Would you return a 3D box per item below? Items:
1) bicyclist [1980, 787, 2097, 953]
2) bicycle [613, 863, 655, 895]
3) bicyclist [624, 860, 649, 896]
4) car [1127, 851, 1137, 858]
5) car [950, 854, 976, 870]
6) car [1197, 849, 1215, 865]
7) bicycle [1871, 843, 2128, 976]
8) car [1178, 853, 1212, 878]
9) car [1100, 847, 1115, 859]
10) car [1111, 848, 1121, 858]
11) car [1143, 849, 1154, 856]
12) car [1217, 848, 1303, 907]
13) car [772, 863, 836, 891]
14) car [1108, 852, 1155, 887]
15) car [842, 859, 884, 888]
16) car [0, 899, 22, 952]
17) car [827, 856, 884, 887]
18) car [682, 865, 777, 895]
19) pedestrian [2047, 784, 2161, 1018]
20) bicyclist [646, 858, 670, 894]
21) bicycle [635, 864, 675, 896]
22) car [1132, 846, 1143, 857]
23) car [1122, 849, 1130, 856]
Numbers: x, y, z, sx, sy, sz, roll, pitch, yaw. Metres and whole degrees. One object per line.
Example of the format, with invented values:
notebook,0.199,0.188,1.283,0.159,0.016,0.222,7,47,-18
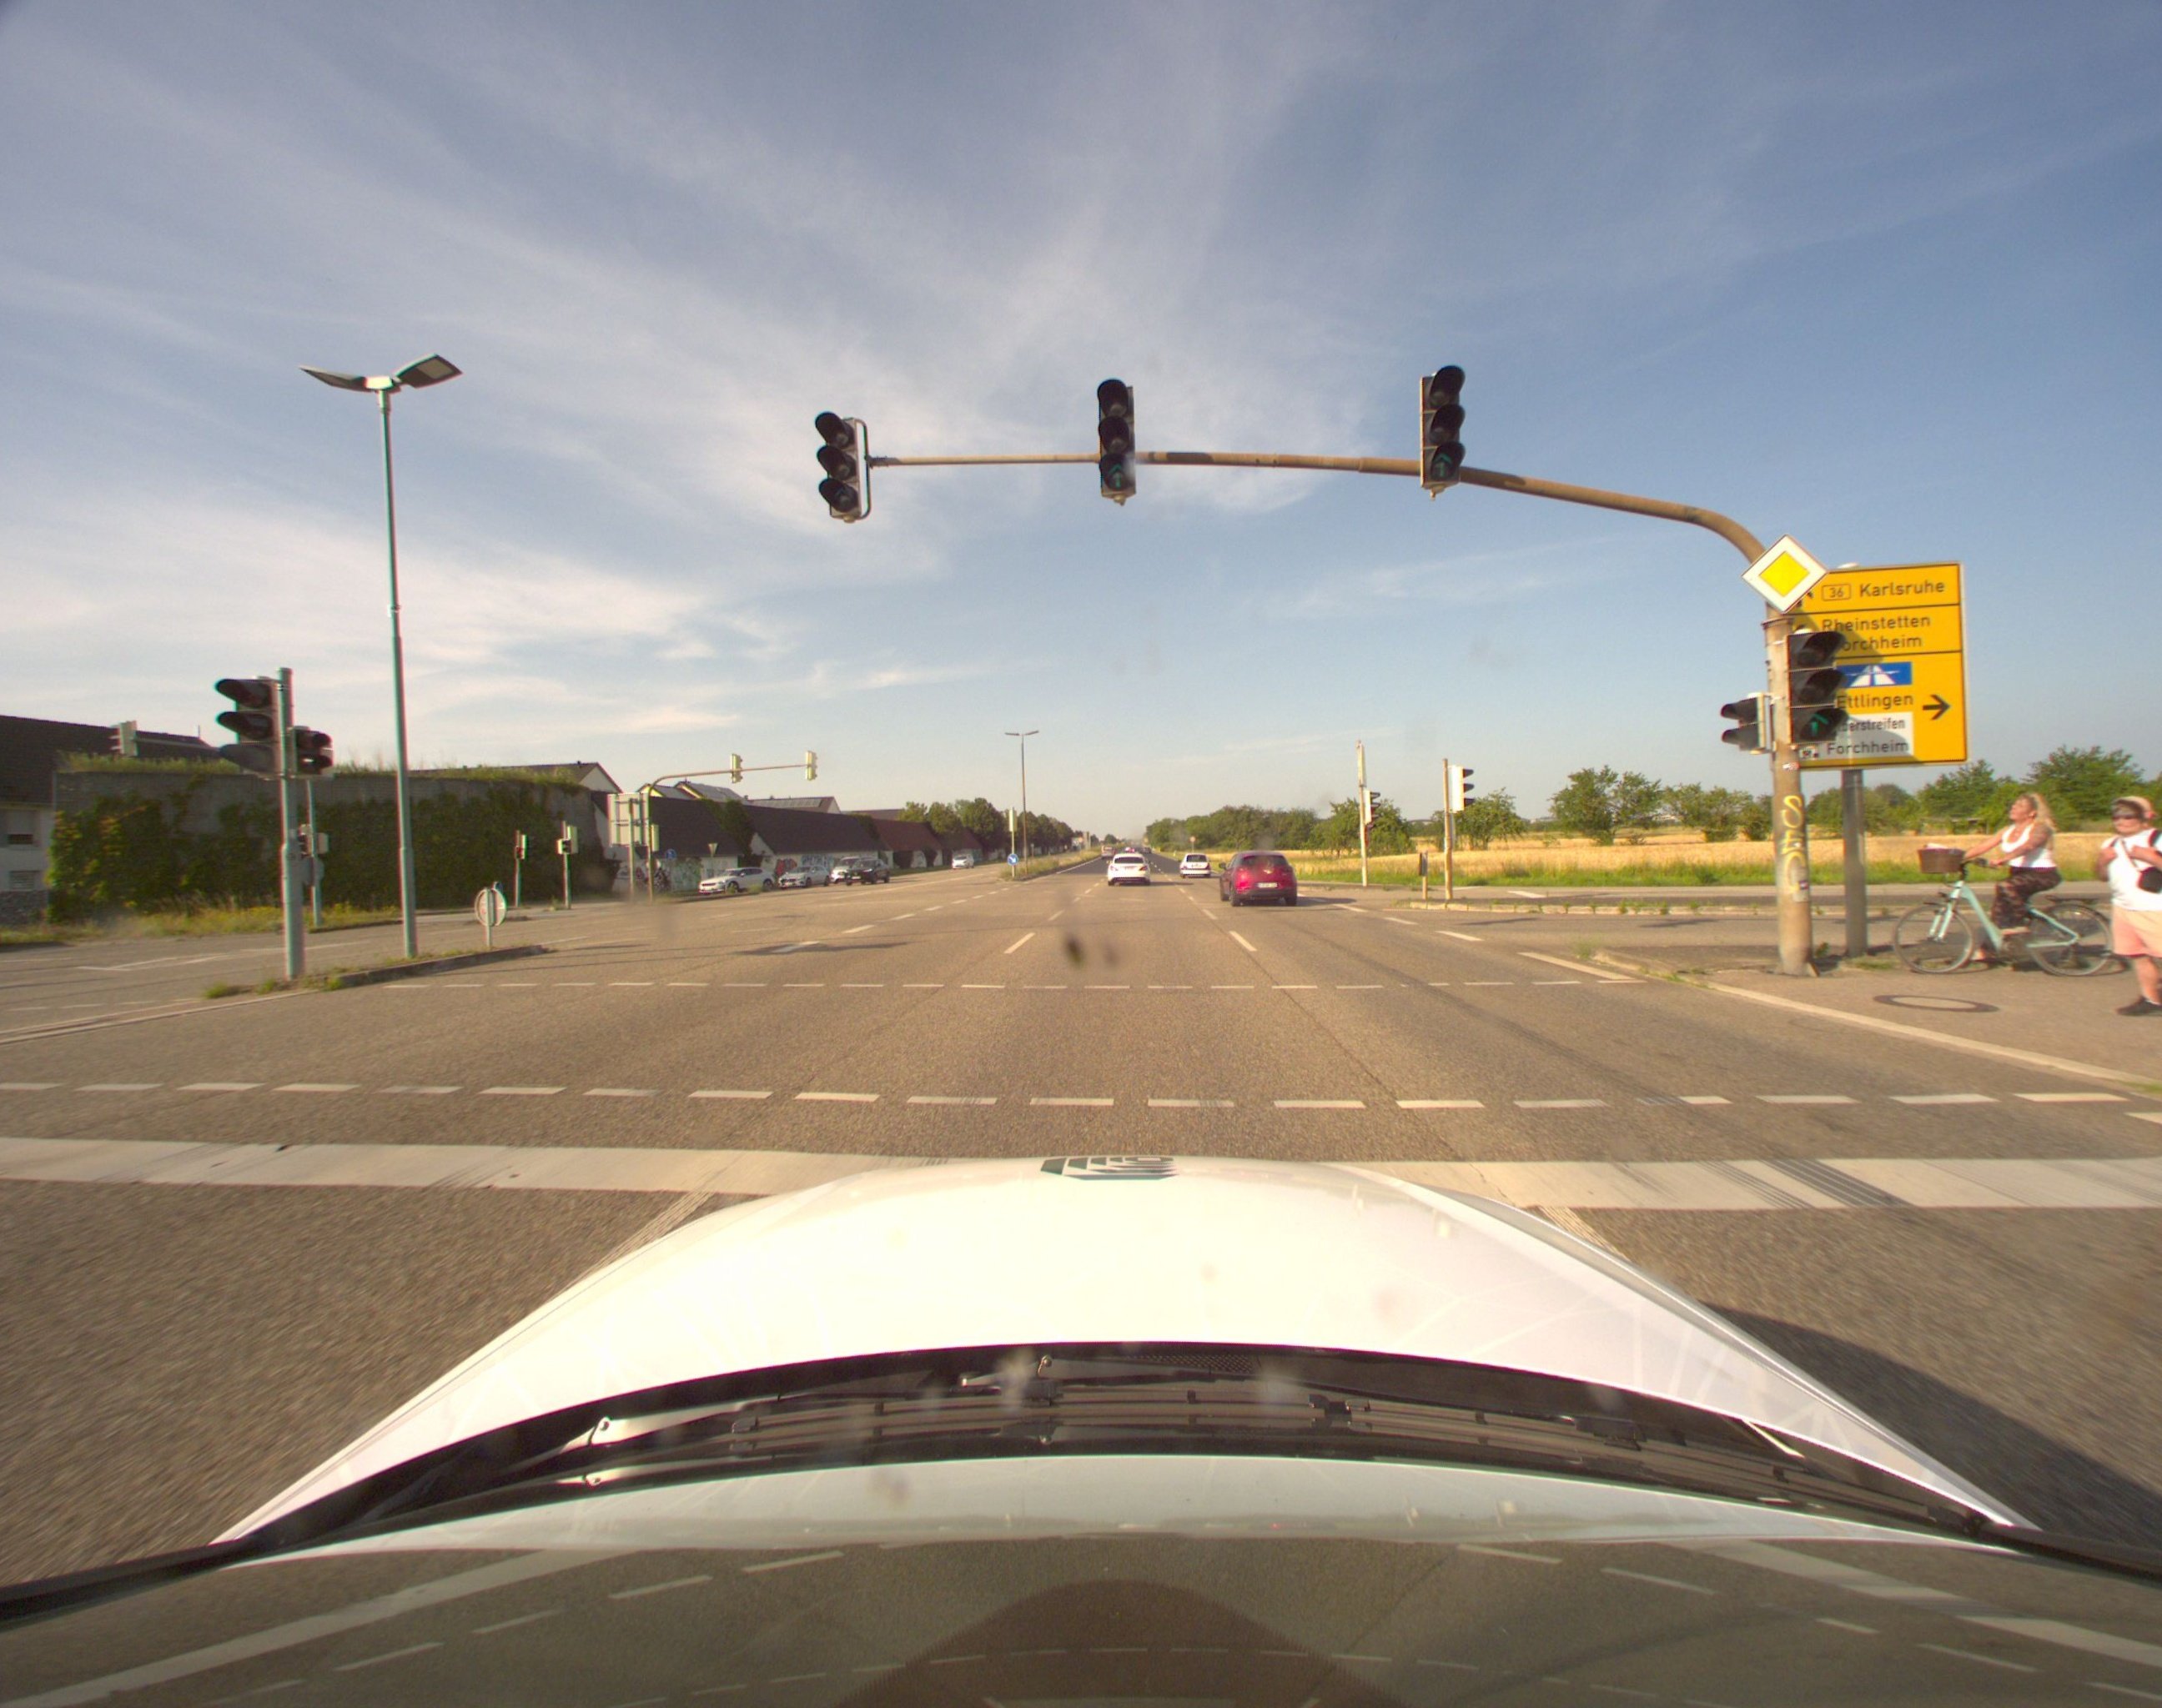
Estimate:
bicyclist,9.610,0.159,8.189,0.555,1.612,0.506,0,0,9
bicycle,-25.293,1.379,46.138,0.750,1.749,2.610,0,0,4
bicyclist,-25.269,1.359,46.316,0.767,2.014,1.063,0,0,3
car,9.882,0.072,157.943,1.804,1.436,3.861,0,0,3
car,-13.594,0.892,93.875,1.828,1.707,4.763,-4,0,4
car,12.459,0.262,81.298,1.645,1.570,3.686,0,0,6
bicycle,9.235,0.542,8.238,1.844,1.289,0.530,0,0,6
car,6.452,0.628,46.337,1.610,1.387,3.955,0,0,3
car,3.535,-0.127,109.883,1.750,1.618,4.006,0,0,6
car,7.488,-0.151,174.434,1.831,2.013,4.005,0,0,4
car,14.044,-0.288,168.985,1.986,1.585,4.285,0,0,1
car,5.016,0.617,23.361,1.697,1.506,4.505,0,0,3
car,-17.364,1.431,51.237,1.692,1.497,4.550,-5,-1,10
car,2.310,0.664,37.117,1.985,1.516,4.004,0,0,4
car,-13.386,1.171,50.198,1.729,1.541,4.239,-4,0,-5
car,-31.628,2.121,21.719,4.282,1.413,1.640,-4,0,-3
car,-16.020,1.196,58.240,1.898,1.928,5.463,-4,-1,6
car,-19.039,1.362,44.356,1.933,1.497,4.786,-1,0,21
pedestrian,8.212,0.350,6.358,0.617,1.751,0.600,0,0,14
bicyclist,-24.081,1.267,46.389,0.767,2.014,1.063,0,0,3
bicycle,-24.121,1.441,46.204,0.750,1.749,2.610,0,0,4
car,9.447,-0.404,136.448,1.820,1.728,4.004,0,0,3
car,11.159,-0.307,200.303,1.789,1.651,3.541,0,0,1
